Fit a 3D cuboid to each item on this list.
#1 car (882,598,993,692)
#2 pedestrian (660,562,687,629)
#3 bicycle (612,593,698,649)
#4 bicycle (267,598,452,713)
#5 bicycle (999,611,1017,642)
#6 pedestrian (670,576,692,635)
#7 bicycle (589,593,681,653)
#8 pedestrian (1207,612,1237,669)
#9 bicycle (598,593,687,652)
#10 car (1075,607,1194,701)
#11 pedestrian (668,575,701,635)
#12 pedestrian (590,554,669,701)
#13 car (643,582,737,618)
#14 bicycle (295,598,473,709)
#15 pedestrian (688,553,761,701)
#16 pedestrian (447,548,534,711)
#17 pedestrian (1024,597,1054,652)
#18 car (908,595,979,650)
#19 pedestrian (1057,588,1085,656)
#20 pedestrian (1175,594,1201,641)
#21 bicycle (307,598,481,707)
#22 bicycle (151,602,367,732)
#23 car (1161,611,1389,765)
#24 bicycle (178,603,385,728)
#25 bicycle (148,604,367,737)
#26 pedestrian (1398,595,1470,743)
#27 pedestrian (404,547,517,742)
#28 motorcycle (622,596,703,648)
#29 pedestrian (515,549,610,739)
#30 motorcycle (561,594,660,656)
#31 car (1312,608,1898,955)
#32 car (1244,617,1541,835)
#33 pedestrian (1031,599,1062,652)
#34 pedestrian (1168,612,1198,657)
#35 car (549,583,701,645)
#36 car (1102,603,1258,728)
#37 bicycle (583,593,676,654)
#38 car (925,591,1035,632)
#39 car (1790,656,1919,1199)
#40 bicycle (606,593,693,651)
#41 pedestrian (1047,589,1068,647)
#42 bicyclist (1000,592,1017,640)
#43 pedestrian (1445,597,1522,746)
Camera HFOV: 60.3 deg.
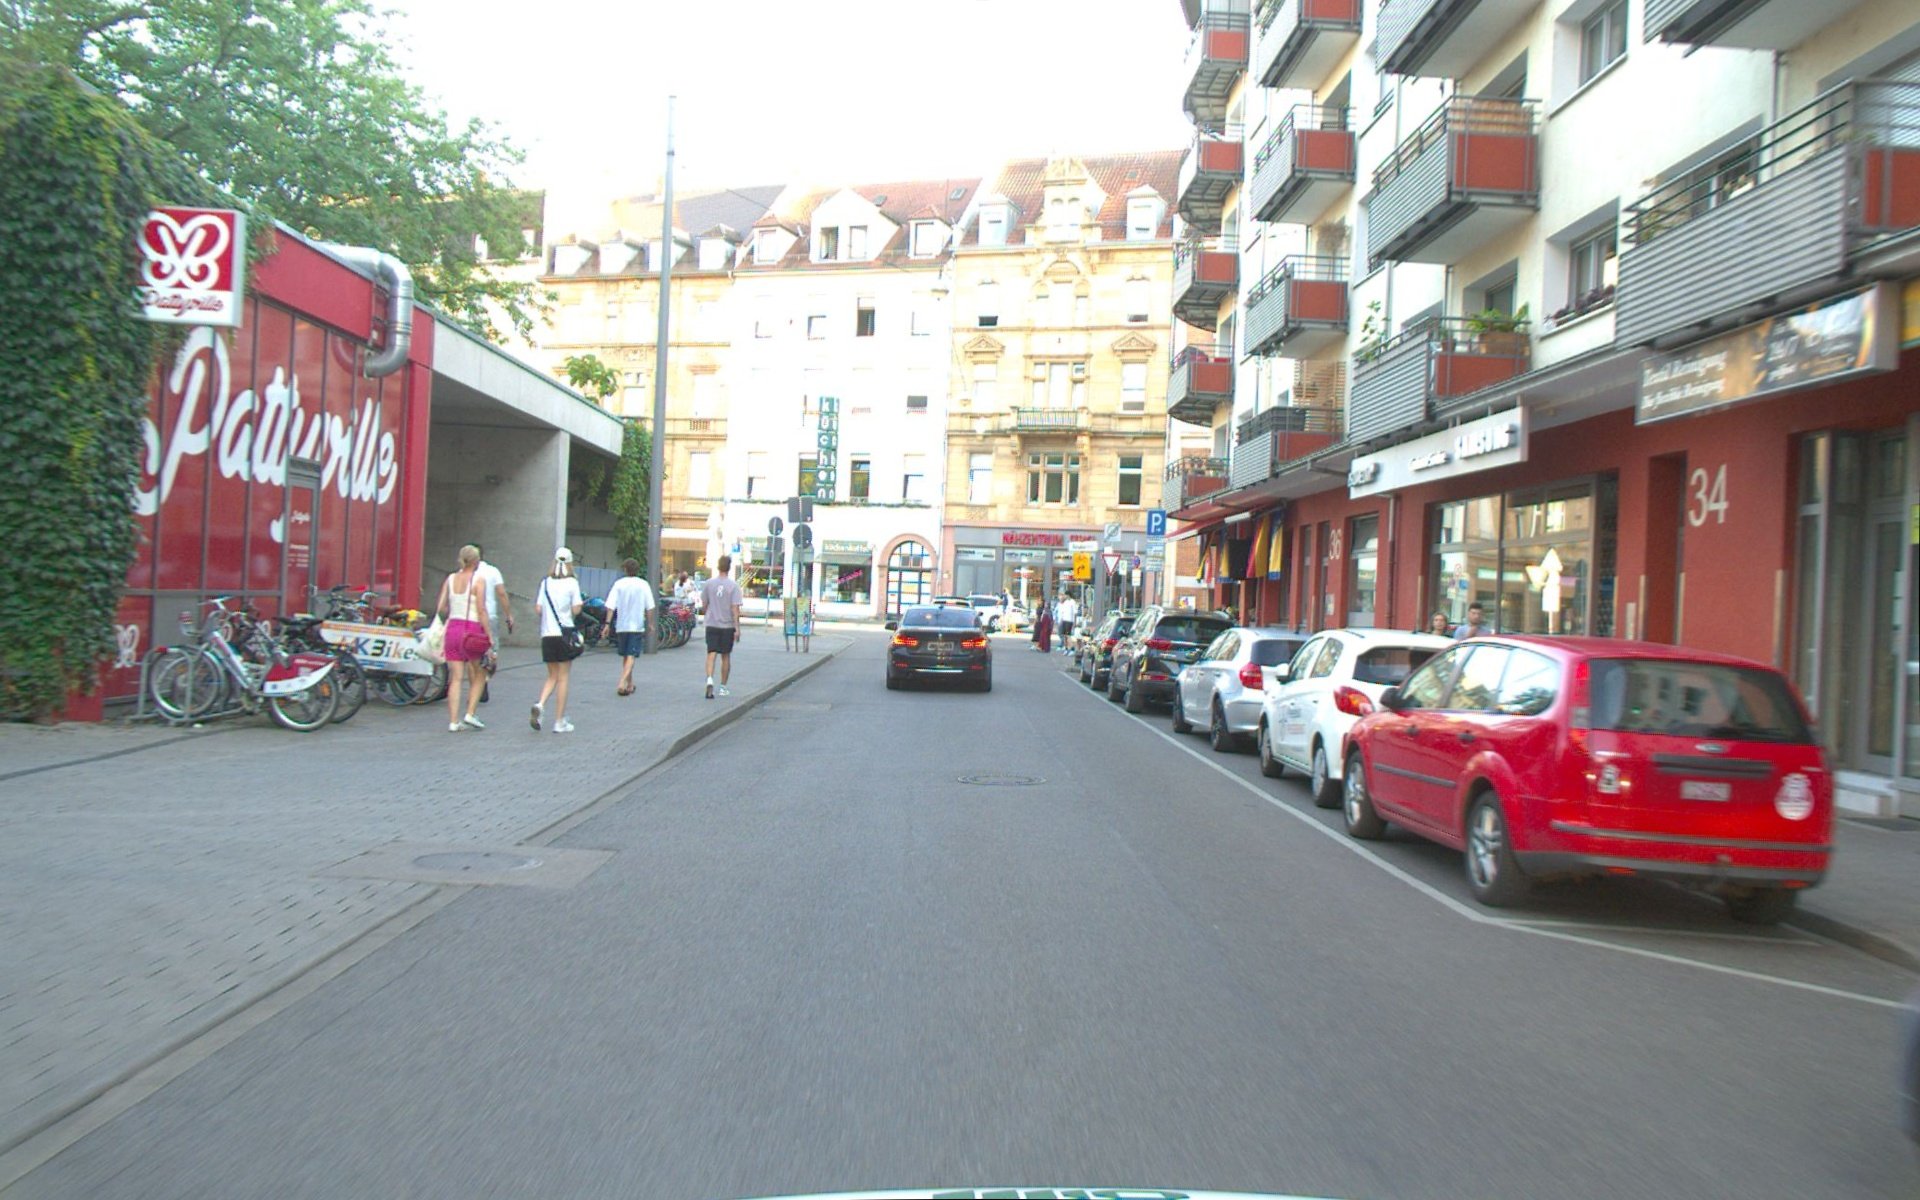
[{"bbox_3d":[-0.378,0.720,29.163,1.729,1.399,4.790,3,0,0],"label":"car"},{"bbox_3d":[-8.424,-0.132,48.660,0.571,1.915,0.634,2,0,5],"label":"pedestrian"},{"bbox_3d":[-6.815,0.474,36.965,1.758,1.127,0.500,4,0,-1],"label":"bicycle"},{"bbox_3d":[-6.445,0.585,17.780,1.757,1.127,0.500,3,0,2],"label":"bicycle"},{"bbox_3d":[1.832,1.020,63.160,0.525,1.127,1.799,3,0,-2],"label":"bicycle"},{"bbox_3d":[-8.099,0.154,48.034,0.490,1.672,0.521,2,0,1],"label":"pedestrian"},{"bbox_3d":[-6.793,0.473,34.585,1.757,1.127,0.500,4,0,1],"label":"bicycle"},{"bbox_3d":[6.476,1.000,40.916,0.594,1.371,0.696,1,0,-2],"label":"pedestrian"},{"bbox_3d":[-6.783,0.476,35.334,1.760,1.127,0.499,4,0,-6],"label":"bicycle"},{"bbox_3d":[3.369,1.005,32.706,1.729,1.528,4.790,5,0,0],"label":"car"},{"bbox_3d":[-8.254,0.158,49.544,0.661,1.776,0.654,2,0,39],"label":"pedestrian"},{"bbox_3d":[-4.352,0.351,21.822,0.726,1.844,1.008,4,0,-1],"label":"pedestrian"},{"bbox_3d":[-12.491,0.005,76.554,3.906,1.537,1.800,2,-1,22],"label":"car"},{"bbox_3d":[-6.399,0.588,18.412,1.757,1.127,0.500,3,0,2],"label":"bicycle"},{"bbox_3d":[-3.205,0.358,22.608,0.729,1.926,1.050,3,0,0],"label":"pedestrian"},{"bbox_3d":[-5.320,0.329,18.799,0.702,1.785,0.848,2,0,-2],"label":"pedestrian"},{"bbox_3d":[2.407,0.739,50.641,0.711,1.636,0.649,4,0,-10],"label":"pedestrian"},{"bbox_3d":[-0.446,0.640,49.210,1.838,1.498,4.002,2,0,3],"label":"car"},{"bbox_3d":[3.191,0.621,47.607,0.662,1.910,0.701,3,0,7],"label":"pedestrian"},{"bbox_3d":[5.999,0.459,43.587,0.415,1.222,0.529,-1,0,-43],"label":"pedestrian"},{"bbox_3d":[-6.451,0.590,18.883,1.757,1.127,0.500,3,0,2],"label":"bicycle"},{"bbox_3d":[-6.594,0.627,15.601,1.758,1.127,0.500,3,0,-2],"label":"bicycle"},{"bbox_3d":[3.714,0.976,20.283,1.665,1.477,4.456,5,0,-3],"label":"car"},{"bbox_3d":[-6.604,0.629,16.137,1.758,1.127,0.500,3,0,-2],"label":"bicycle"},{"bbox_3d":[-6.464,0.640,15.258,1.758,1.127,0.500,3,0,-1],"label":"bicycle"},{"bbox_3d":[5.515,0.792,19.273,0.634,1.690,0.655,-1,0,1],"label":"pedestrian"},{"bbox_3d":[-4.796,0.412,15.929,0.737,1.780,0.846,4,0,-1],"label":"pedestrian"},{"bbox_3d":[-6.927,0.514,38.589,1.731,1.120,0.560,4,0,-35],"label":"motorcycle"},{"bbox_3d":[-3.887,0.416,16.234,0.636,1.780,0.985,3,0,-1],"label":"pedestrian"},{"bbox_3d":[-6.878,0.489,32.556,1.765,1.082,0.764,3,0,25],"label":"motorcycle"},{"bbox_3d":[3.721,0.923,10.572,1.678,1.538,4.650,5,0,-2],"label":"car"},{"bbox_3d":[3.766,1.016,15.107,1.574,1.538,4.048,4,0,0],"label":"car"},{"bbox_3d":[2.614,0.774,49.993,0.722,1.539,0.649,4,0,-10],"label":"pedestrian"},{"bbox_3d":[6.655,1.020,49.284,0.607,1.301,0.698,2,0,36],"label":"pedestrian"},{"bbox_3d":[-9.051,0.372,44.922,3.913,1.527,1.887,2,0,-9],"label":"car"},{"bbox_3d":[3.456,0.976,26.816,1.729,1.670,4.790,4,0,-1],"label":"car"},{"bbox_3d":[-6.781,0.475,33.991,1.758,1.127,0.500,4,0,-2],"label":"bicycle"},{"bbox_3d":[0.856,0.510,70.757,4.263,1.589,1.868,2,-1,22],"label":"car"},{"bbox_3d":[3.500,0.980,2.705,1.702,1.439,4.680,5,0,-2],"label":"car"},{"bbox_3d":[-6.755,0.476,36.038,1.759,1.127,0.500,4,0,-4],"label":"bicycle"},{"bbox_3d":[3.037,0.563,51.551,0.592,1.776,0.670,2,0,5],"label":"pedestrian"},{"bbox_3d":[1.858,0.600,63.141,0.513,1.787,0.619,3,0,-2],"label":"bicyclist"},{"bbox_3d":[6.080,0.810,19.243,0.634,1.690,0.794,-1,0,1],"label":"pedestrian"}]
